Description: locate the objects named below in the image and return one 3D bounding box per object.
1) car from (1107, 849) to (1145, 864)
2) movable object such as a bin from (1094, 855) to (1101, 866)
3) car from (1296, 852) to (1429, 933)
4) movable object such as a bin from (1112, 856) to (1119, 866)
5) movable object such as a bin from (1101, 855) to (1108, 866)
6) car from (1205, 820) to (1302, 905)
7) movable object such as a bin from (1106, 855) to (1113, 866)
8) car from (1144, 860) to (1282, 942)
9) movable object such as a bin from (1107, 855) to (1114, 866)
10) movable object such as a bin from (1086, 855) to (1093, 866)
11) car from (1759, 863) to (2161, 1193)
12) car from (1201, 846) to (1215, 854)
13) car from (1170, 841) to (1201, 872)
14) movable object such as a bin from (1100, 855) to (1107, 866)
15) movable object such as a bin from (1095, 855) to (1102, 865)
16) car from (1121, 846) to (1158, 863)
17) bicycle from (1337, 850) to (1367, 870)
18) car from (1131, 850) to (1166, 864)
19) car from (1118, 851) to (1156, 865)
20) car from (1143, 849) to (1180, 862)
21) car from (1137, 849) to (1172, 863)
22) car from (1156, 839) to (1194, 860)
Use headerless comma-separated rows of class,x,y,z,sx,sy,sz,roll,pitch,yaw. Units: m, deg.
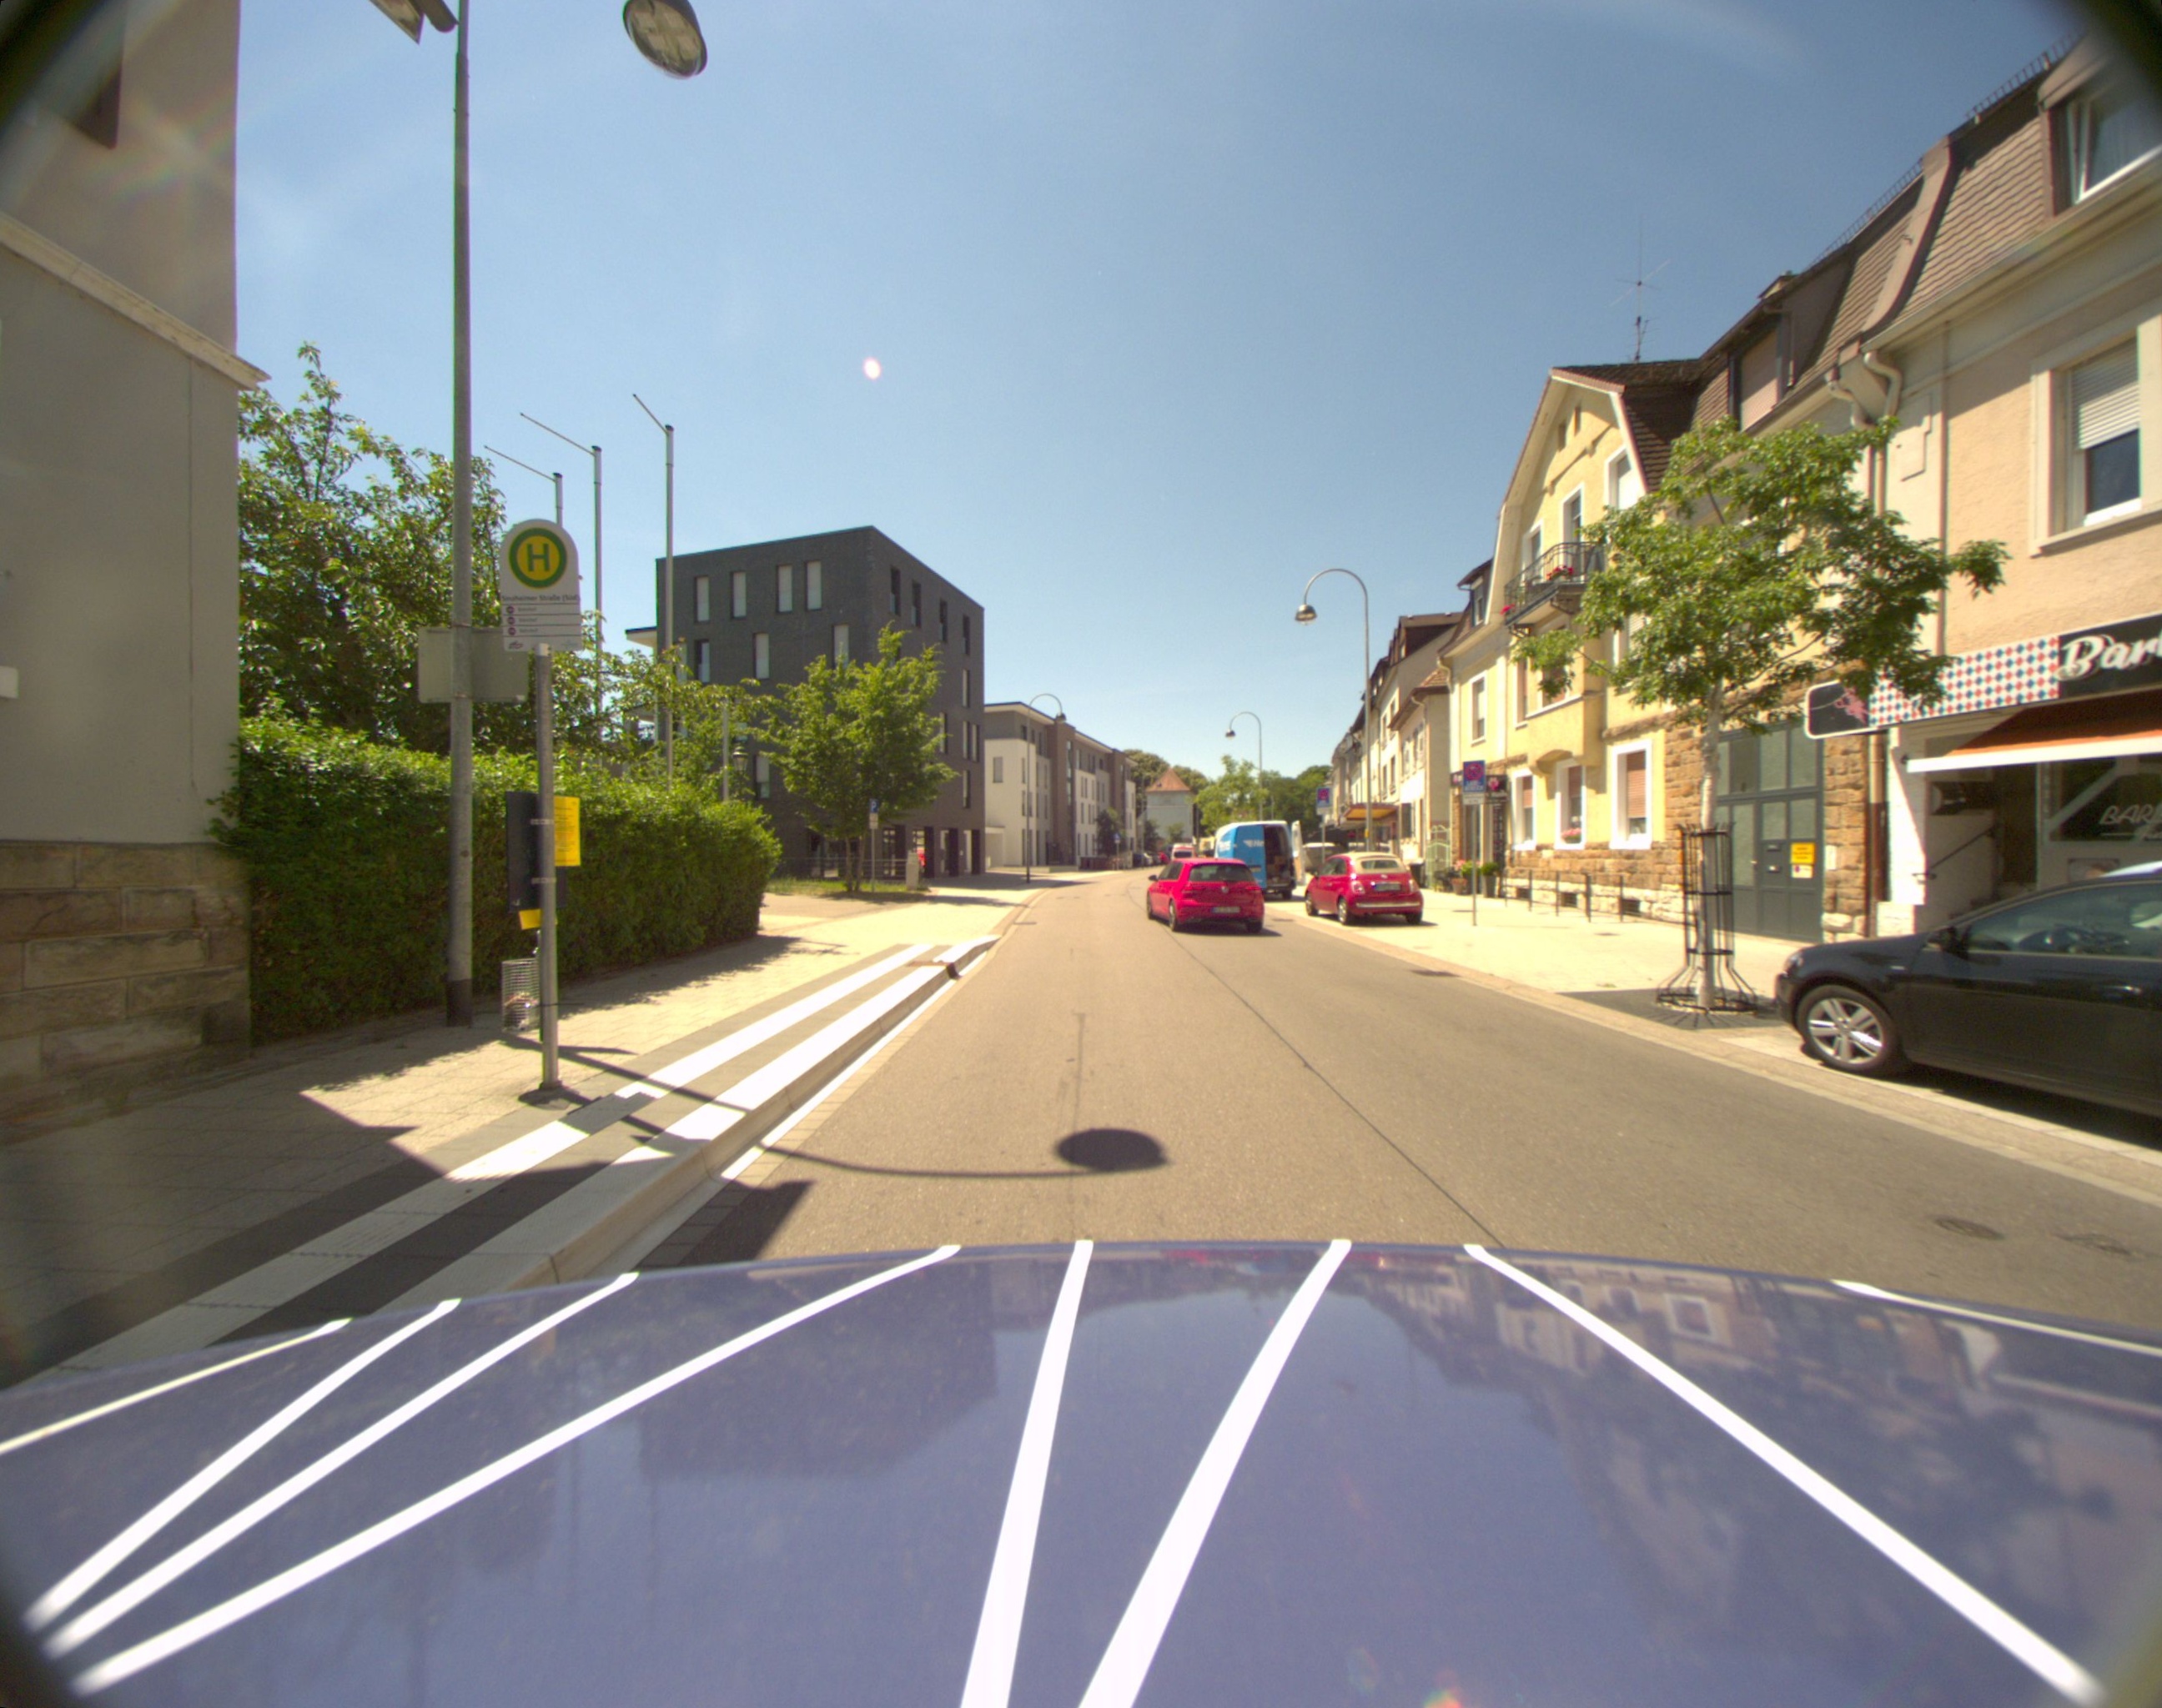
car,4.744,0.286,79.547,3.660,1.437,1.537,2,2,19
movable object such as a bin,1.490,0.573,67.187,0.474,0.925,0.529,2,2,17
car,6.121,0.760,16.916,1.564,1.512,3.514,-1,1,-1
movable object such as a bin,3.055,0.619,66.701,0.474,0.925,0.529,2,2,17
movable object such as a bin,2.123,0.570,67.632,0.465,0.925,0.523,2,2,17
car,5.620,0.241,25.507,2.097,2.483,5.503,-2,0,2
movable object such as a bin,2.482,0.586,66.882,0.474,0.925,0.529,2,2,17
car,2.608,0.881,16.015,1.921,1.418,3.978,2,0,-4
movable object such as a bin,2.616,0.576,67.469,0.465,0.925,0.523,2,2,17
movable object such as a bin,0.741,0.565,67.363,0.474,0.925,0.529,2,2,17
car,6.147,0.855,3.588,1.920,1.473,4.336,-3,0,-1
car,25.647,-0.816,153.218,1.622,1.445,3.859,1,1,-10
car,8.428,0.166,60.863,2.160,2.348,5.251,1,0,10
movable object such as a bin,1.978,0.580,67.030,0.474,0.925,0.529,2,2,17
movable object such as a bin,1.580,0.546,67.791,0.465,0.925,0.523,2,2,17
car,6.484,0.056,84.013,3.813,1.776,1.842,1,1,15
bicycle,18.012,0.412,50.466,1.767,1.227,0.617,-3,0,16
car,7.712,0.310,86.665,3.612,1.454,1.618,1,1,16
car,6.031,0.399,81.774,3.813,1.474,1.780,1,1,15
car,9.806,0.217,92.782,4.353,1.542,1.653,0,1,14
car,8.629,0.234,89.160,3.813,1.454,1.654,1,1,16
car,12.735,-0.602,103.223,4.860,2.720,1.853,1,1,17
